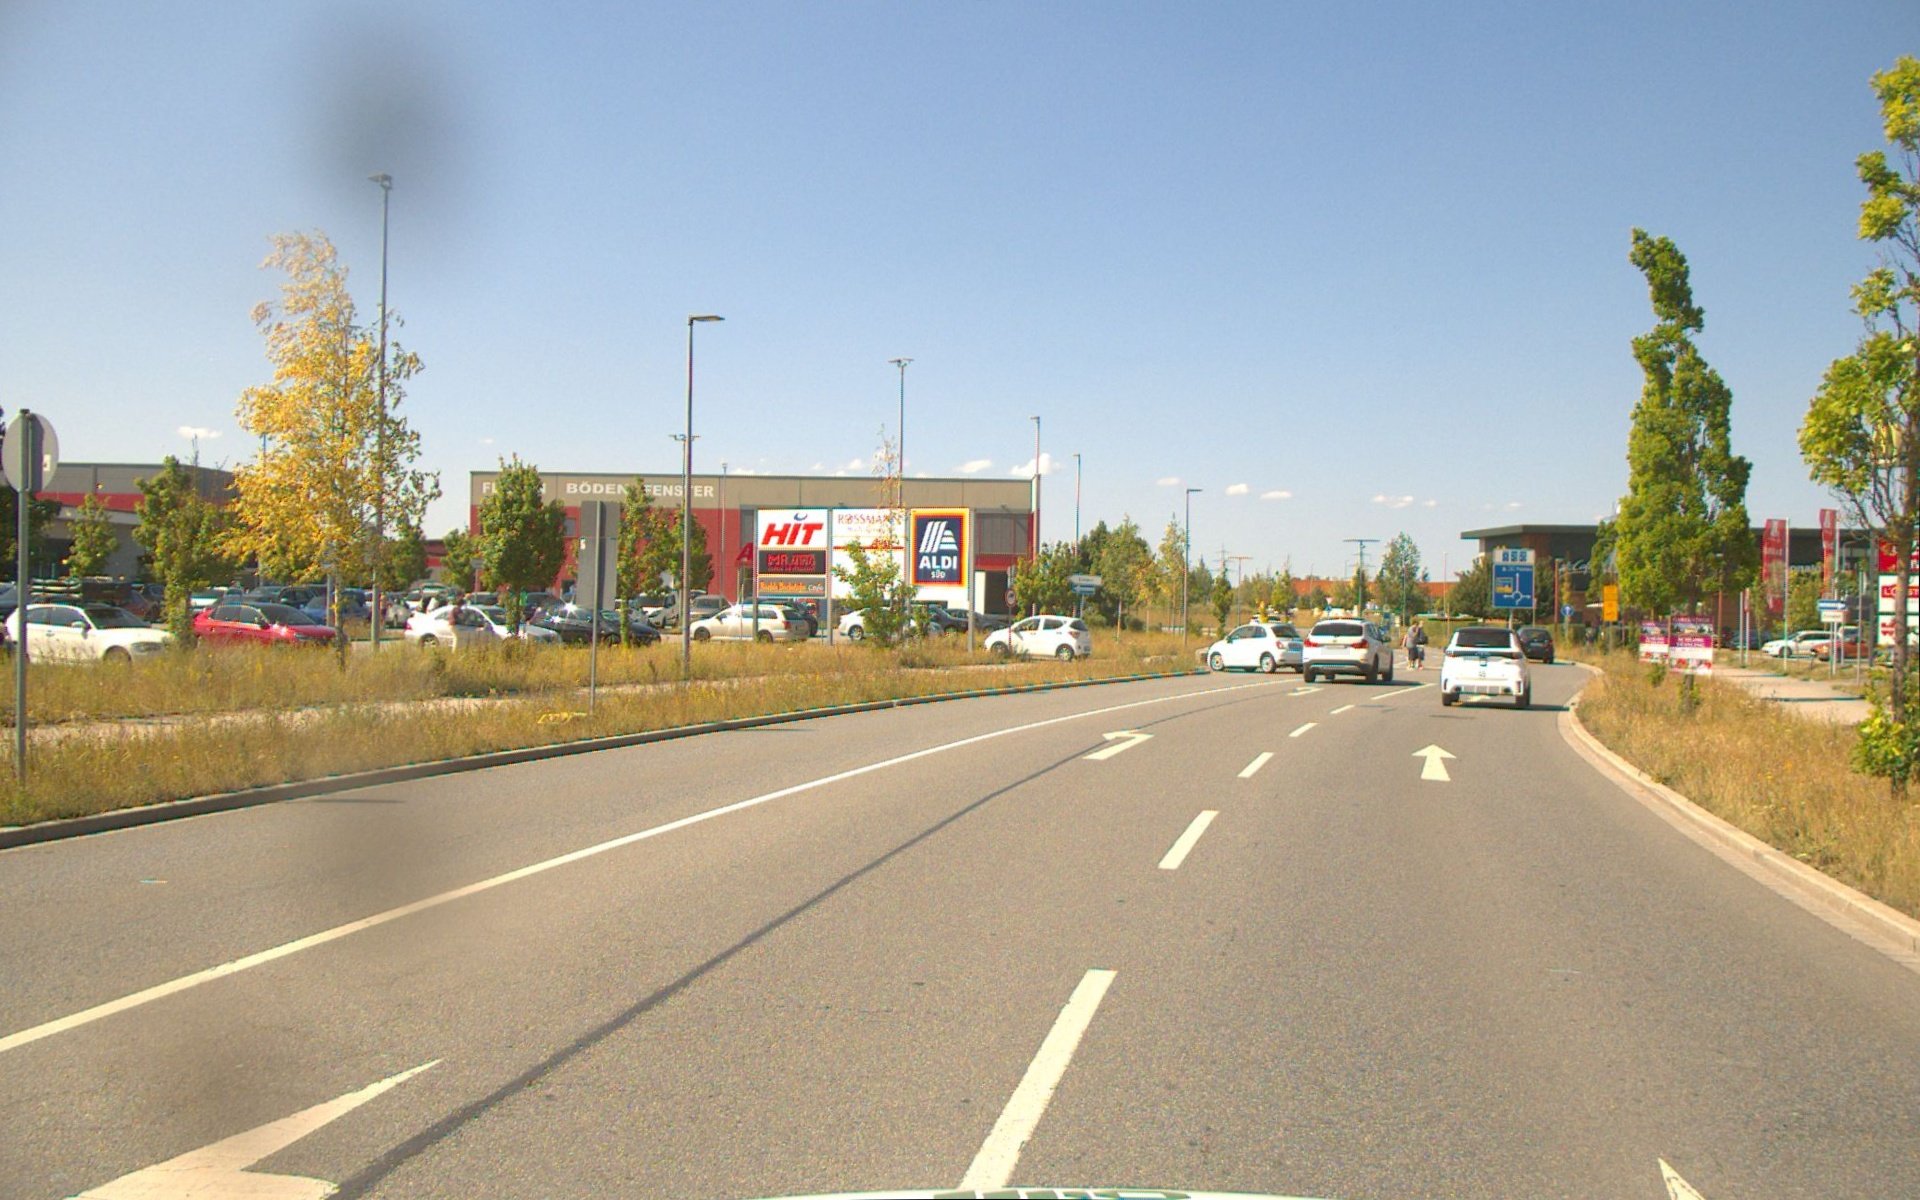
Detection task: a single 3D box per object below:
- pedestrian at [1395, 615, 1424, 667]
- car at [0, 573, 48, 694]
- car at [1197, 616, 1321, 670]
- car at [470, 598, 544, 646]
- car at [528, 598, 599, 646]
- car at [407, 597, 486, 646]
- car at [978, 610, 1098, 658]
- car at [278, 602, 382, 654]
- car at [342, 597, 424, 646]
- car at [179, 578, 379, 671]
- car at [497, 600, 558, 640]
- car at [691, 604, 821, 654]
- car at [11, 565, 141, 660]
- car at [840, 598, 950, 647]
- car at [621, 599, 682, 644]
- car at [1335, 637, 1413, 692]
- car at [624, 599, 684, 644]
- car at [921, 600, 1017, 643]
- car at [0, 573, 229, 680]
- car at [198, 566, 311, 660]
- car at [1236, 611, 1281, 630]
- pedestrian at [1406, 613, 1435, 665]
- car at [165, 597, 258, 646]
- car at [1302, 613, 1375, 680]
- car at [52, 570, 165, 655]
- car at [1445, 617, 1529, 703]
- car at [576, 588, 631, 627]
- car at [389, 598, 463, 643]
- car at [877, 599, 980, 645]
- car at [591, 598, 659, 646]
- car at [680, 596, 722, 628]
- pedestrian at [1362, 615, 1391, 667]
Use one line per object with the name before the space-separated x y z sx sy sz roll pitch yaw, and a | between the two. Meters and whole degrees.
pedestrian | 14.823 1.350 54.578 0.705 1.693 0.656 1 0 -43
car | -18.716 0.538 28.756 4.992 2.049 2.165 1 0 18
car | 9.230 1.303 51.342 1.720 1.578 3.739 0 -1 -33
car | -20.068 0.950 73.439 1.952 2.073 4.485 0 0 1
car | -17.450 0.950 72.932 1.952 2.073 4.485 0 0 1
car | -22.639 0.945 73.083 1.952 2.073 4.485 0 0 1
car | 2.620 1.123 55.630 3.693 1.578 1.741 0 -1 21
car | -22.435 0.980 59.068 1.952 1.815 4.316 0 0 1
car | -25.368 0.941 72.915 1.952 2.073 4.485 0 0 1
car | -15.742 0.544 38.285 4.039 2.049 1.883 1 -1 20
car | -22.728 1.040 87.117 1.952 2.073 4.485 0 0 1
car | -7.405 1.035 59.994 4.385 1.745 1.997 0 -1 29
car | -27.826 0.400 52.216 1.954 2.871 4.480 0 0 -4
car | -2.781 0.953 71.126 4.374 2.073 2.002 0 -1 13
car | -14.672 0.993 78.859 1.952 2.073 4.485 0 0 1
car | 12.909 1.970 51.449 1.701 1.578 3.781 0 0 24
car | -14.545 0.993 78.872 1.952 2.073 4.485 0 0 1
car | 0.448 1.025 81.240 4.374 2.073 2.002 0 -1 13
car | -17.348 0.506 33.646 4.303 2.049 1.945 1 -1 18
car | -22.461 0.410 52.818 1.954 2.871 4.480 0 0 -4
car | 29.289 2.021 162.346 3.934 1.758 1.985 1 0 -24
pedestrian | 15.358 1.302 55.109 0.705 1.693 0.656 1 0 -43
car | -32.787 0.931 72.595 1.952 2.073 4.485 0 0 1
car | 9.587 1.127 41.795 1.699 1.578 4.574 0 0 14
car | -30.149 0.442 58.713 1.954 2.871 4.480 0 0 -4
car | 10.120 1.106 31.673 1.444 1.516 3.002 1 0 19
car | -19.463 0.397 90.492 1.952 2.073 4.485 0 0 1
car | -25.306 0.979 78.507 1.952 2.073 4.485 0 0 1
car | -1.447 0.987 75.964 4.374 2.073 2.002 0 -1 13
car | -14.697 0.952 72.795 1.952 2.073 4.485 0 0 1
car | -17.159 0.788 109.626 1.952 2.073 4.485 0 0 1
pedestrian | 13.821 1.348 54.882 0.705 1.693 0.656 1 0 -43
